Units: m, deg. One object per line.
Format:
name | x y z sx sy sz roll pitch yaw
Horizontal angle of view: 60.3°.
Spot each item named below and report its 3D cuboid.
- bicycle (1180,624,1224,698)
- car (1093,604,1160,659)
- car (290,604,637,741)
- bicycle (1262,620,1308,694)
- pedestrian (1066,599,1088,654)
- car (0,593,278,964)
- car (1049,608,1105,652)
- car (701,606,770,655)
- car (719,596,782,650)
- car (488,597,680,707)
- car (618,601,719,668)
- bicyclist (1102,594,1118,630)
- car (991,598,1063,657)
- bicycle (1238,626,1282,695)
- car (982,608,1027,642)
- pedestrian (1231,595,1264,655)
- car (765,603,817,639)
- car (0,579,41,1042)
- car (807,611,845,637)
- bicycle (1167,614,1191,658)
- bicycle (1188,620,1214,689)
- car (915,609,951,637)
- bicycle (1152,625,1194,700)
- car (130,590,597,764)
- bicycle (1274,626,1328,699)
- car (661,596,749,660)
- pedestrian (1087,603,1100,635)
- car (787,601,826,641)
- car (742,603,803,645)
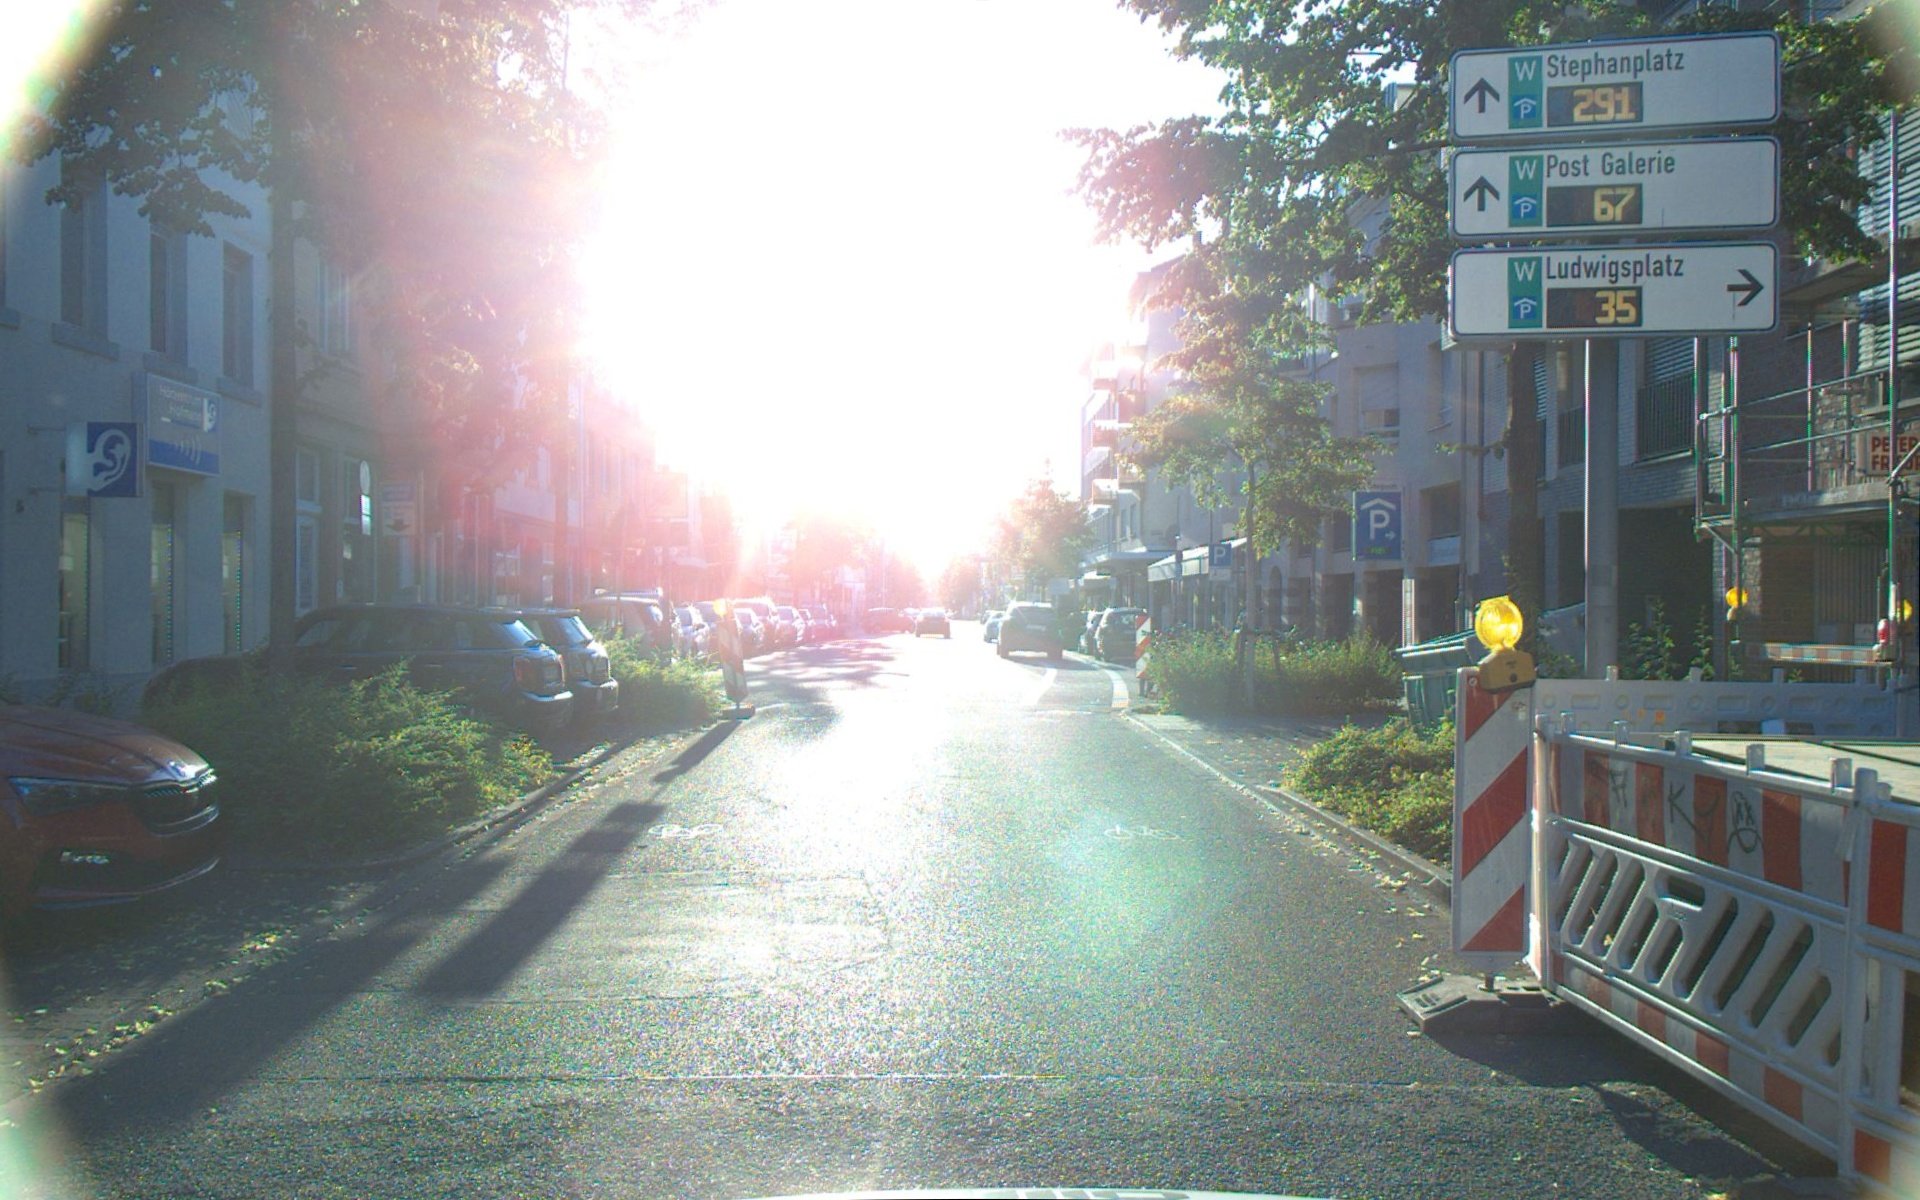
bicycle | 3.812 0.949 26.149 0.374 1.119 1.522 0 0 -4
car | 5.008 0.937 50.014 1.600 1.581 2.693 -1 0 -3
car | -5.464 0.771 18.482 3.326 1.416 1.687 1 0 1
bicycle | 5.519 0.948 28.120 0.374 1.210 1.522 1 -1 -4
pedestrian | 3.594 0.807 50.781 0.436 1.694 0.561 0 -1 -26
car | -5.585 0.754 7.652 4.124 1.543 1.761 0 -1 -4
car | 3.999 1.015 56.963 1.600 1.449 3.756 -1 0 -1
car | -7.261 0.962 53.781 1.678 1.466 4.309 -1 0 -1
car | -7.542 0.801 60.004 1.790 1.842 5.345 -1 0 -3
car | -5.796 0.781 25.715 2.641 1.547 1.570 -2 1 -4
car | -7.056 0.817 40.388 1.737 1.541 3.949 0 0 0
bicyclist | 7.183 0.579 79.281 0.637 1.732 1.094 0 -1 -3
car | 2.031 0.821 51.089 1.954 1.684 4.673 2 0 0
bicycle | 5.073 1.008 28.035 0.374 1.119 1.522 1 -1 -4
car | 2.021 1.142 75.869 1.883 1.440 4.547 2 -1 0
pedestrian | 8.192 0.717 47.117 0.794 1.675 0.606 -2 -1 -1
car | -7.382 0.921 72.509 1.790 1.464 4.552 -2 -1 -1
car | -5.231 0.687 5.132 3.746 1.613 1.742 1 -1 2
car | -7.110 1.259 88.032 1.796 1.351 4.122 0 0 -1
bicycle | 6.509 1.056 49.234 0.389 1.256 1.824 -1 0 -3
bicycle | 4.116 0.917 28.233 0.363 1.127 1.524 0 0 11
car | -1.431 1.226 88.336 1.845 1.440 4.324 1 -1 0
bicycle | 3.355 0.971 26.149 0.374 1.119 1.522 0 0 -4
car | -5.633 0.706 15.992 3.813 1.544 1.857 1 0 0
bicycle | 5.489 0.987 26.702 0.374 1.119 1.520 0 0 -7
car | -6.889 0.727 45.001 1.737 1.661 4.237 0 0 0
pedestrian | 7.388 1.040 91.643 0.673 1.752 0.717 -1 -1 5
car | -7.541 1.029 81.701 1.797 1.887 4.120 0 -1 -4
car | -7.470 0.942 66.403 1.790 1.583 5.135 -2 0 0
